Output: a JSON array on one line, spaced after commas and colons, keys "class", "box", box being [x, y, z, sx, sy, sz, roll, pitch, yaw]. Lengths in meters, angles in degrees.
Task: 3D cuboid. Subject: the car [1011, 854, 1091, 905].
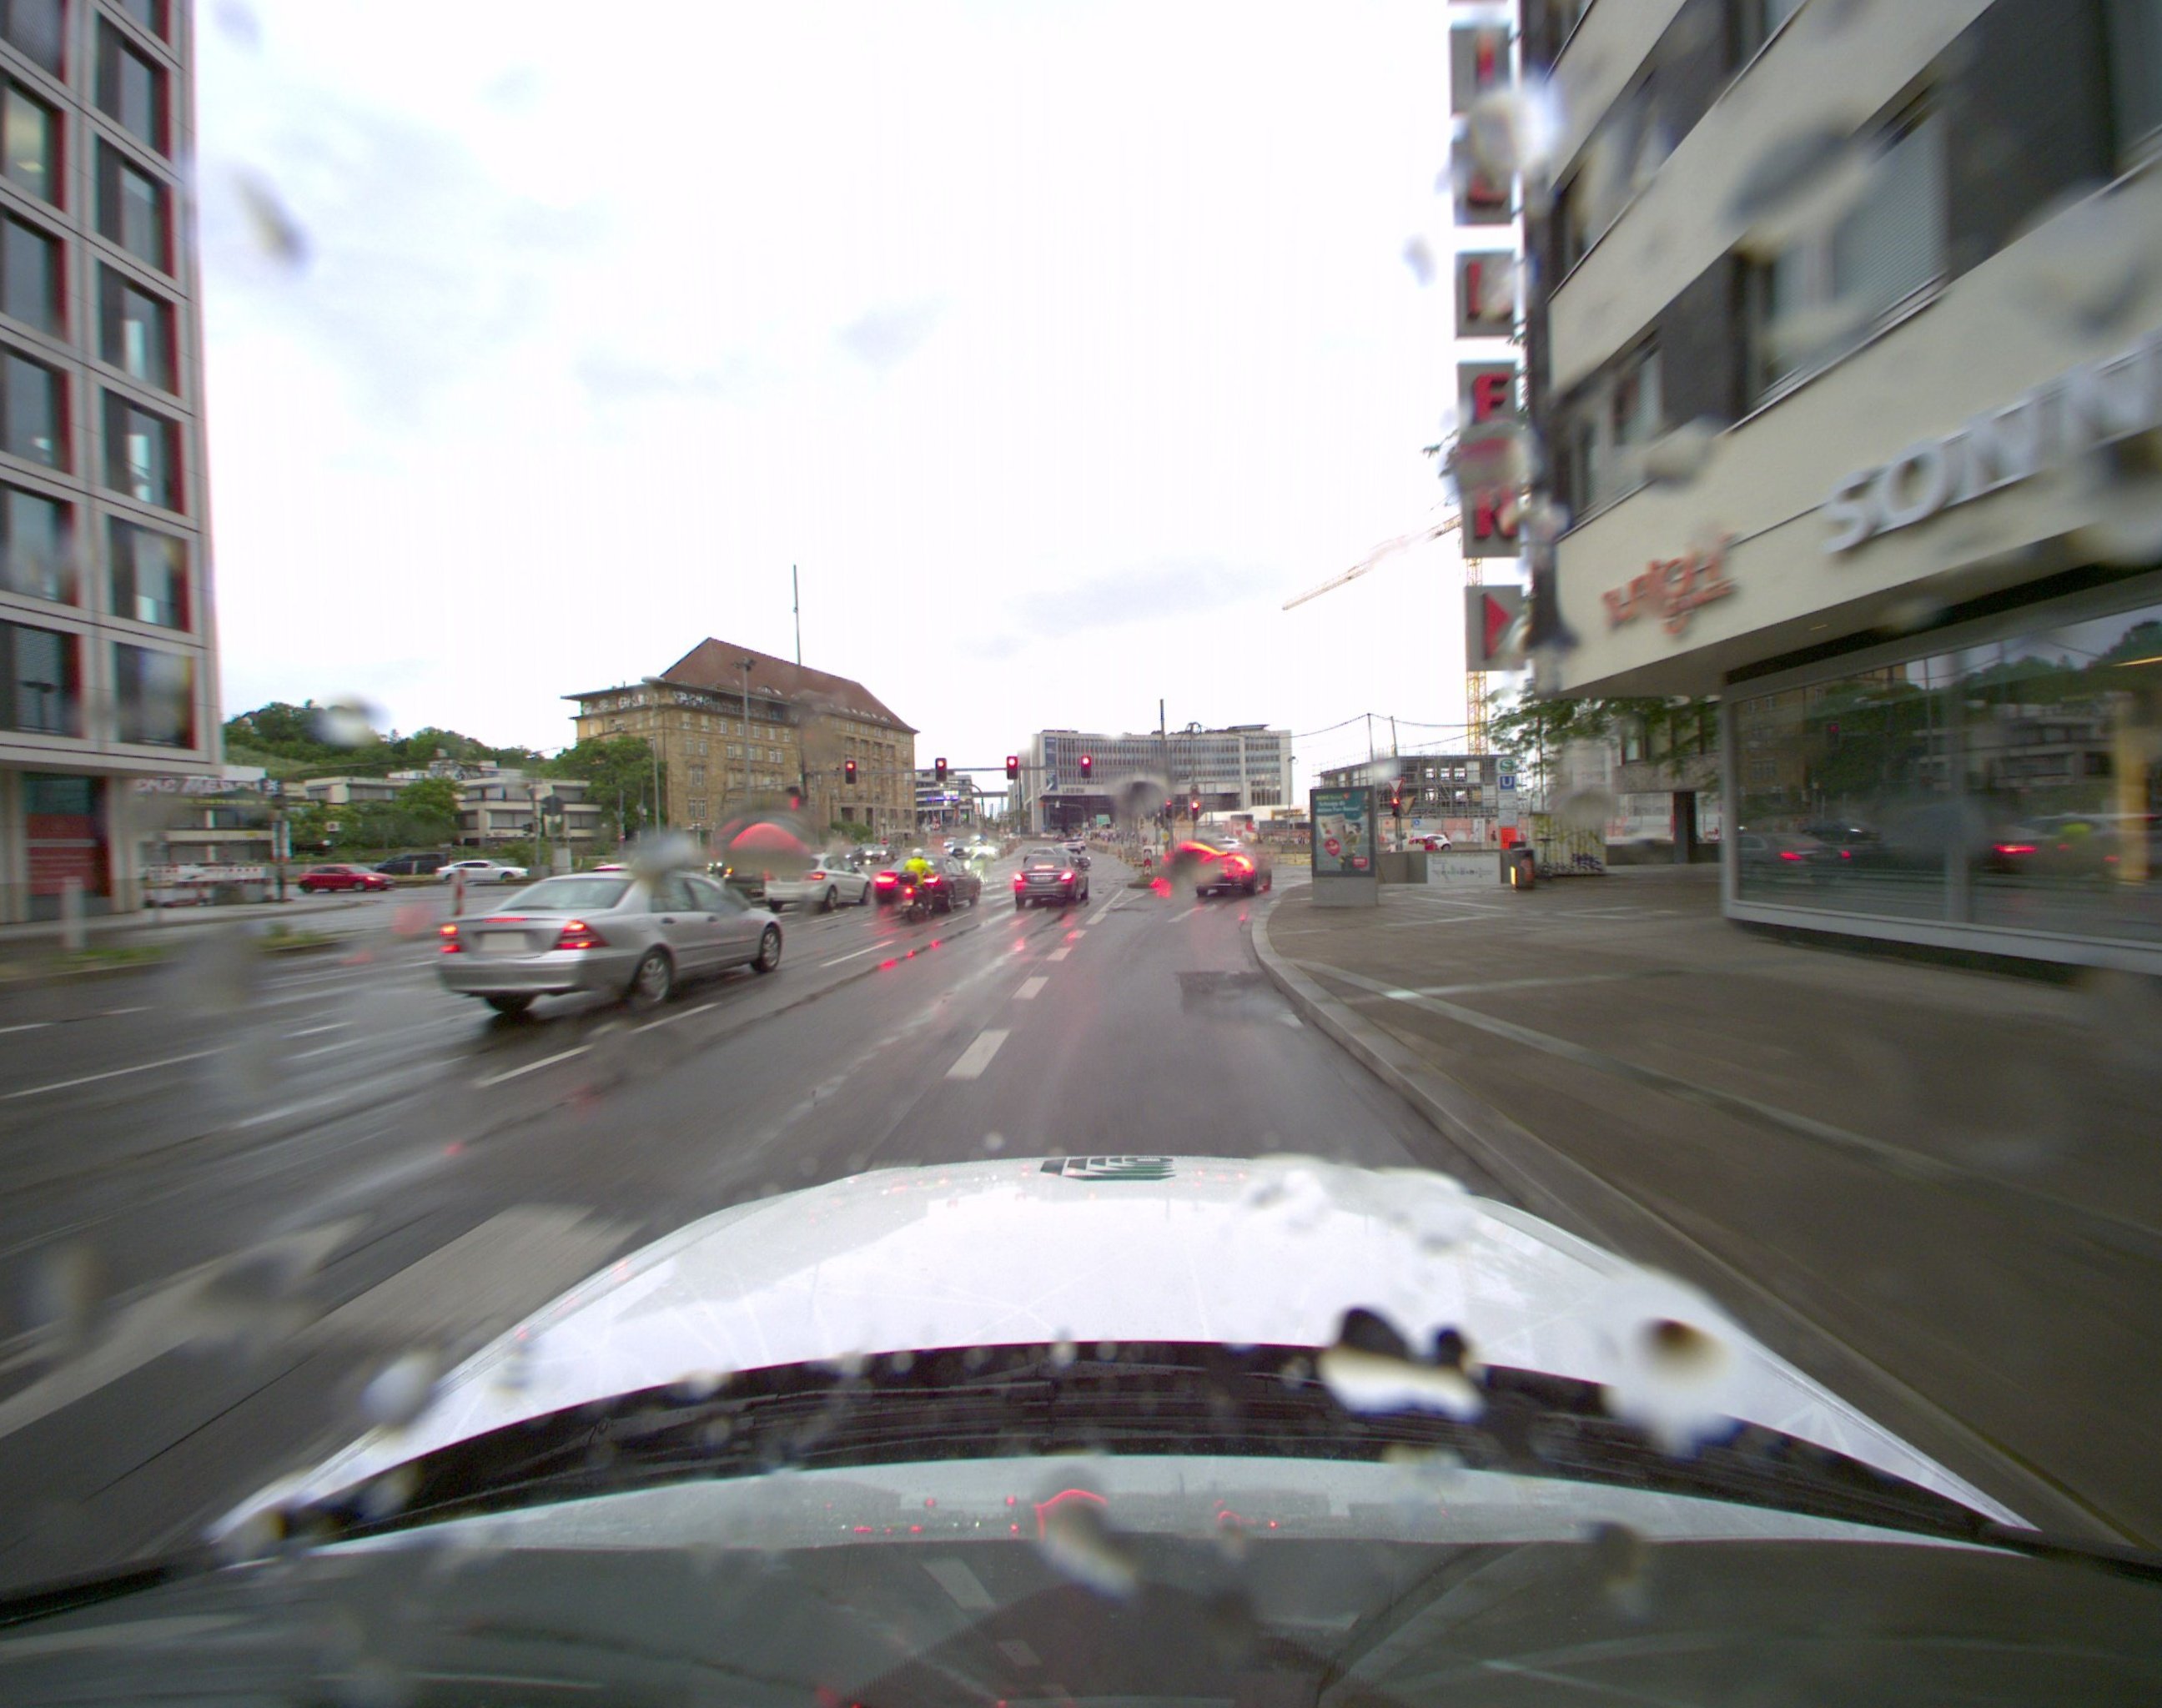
[{"class": "car", "box": [-0.811, 0.713, 24.592, 1.774, 1.402, 4.493, -1, 0, 6]}]

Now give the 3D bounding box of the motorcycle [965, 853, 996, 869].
[{"class": "motorcycle", "box": [-7.307, 0.511, 59.035, 2.115, 1.108, 0.856, -1, -1, 30]}]

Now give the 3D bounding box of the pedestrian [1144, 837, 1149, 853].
[{"class": "pedestrian", "box": [7.761, -1.088, 96.703, 0.361, 1.898, 0.574, 0, -1, -14]}]

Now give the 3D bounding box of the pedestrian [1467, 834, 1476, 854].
[{"class": "pedestrian", "box": [36.298, -0.932, 75.719, 0.573, 1.898, 0.362, 0, -1, -1]}]

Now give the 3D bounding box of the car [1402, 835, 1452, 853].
[{"class": "car", "box": [28.892, -0.829, 68.126, 3.526, 1.473, 1.791, -1, -1, 9]}]

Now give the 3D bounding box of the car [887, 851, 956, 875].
[{"class": "car", "box": [-10.157, 0.577, 51.761, 4.059, 1.507, 2.013, -1, -1, 35]}]

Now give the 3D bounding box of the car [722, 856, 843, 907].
[{"class": "car", "box": [-9.979, 0.878, 27.579, 1.770, 1.599, 4.089, -1, -1, 15]}]

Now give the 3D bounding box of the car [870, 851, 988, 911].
[{"class": "car", "box": [-4.147, 0.705, 23.121, 1.877, 1.515, 5.011, -1, 0, 6]}]

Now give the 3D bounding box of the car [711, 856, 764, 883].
[{"class": "car", "box": [-21.875, 0.959, 51.942, 1.692, 1.519, 3.873, -3, 0, -1]}]

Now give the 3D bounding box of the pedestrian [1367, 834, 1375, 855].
[{"class": "pedestrian", "box": [26.528, -0.857, 74.524, 0.572, 1.898, 0.362, 0, -1, 1]}]

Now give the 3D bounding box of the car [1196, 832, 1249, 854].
[{"class": "car", "box": [12.037, -0.942, 69.136, 4.375, 1.766, 2.006, -1, -1, 12]}]

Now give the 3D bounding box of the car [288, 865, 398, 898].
[{"class": "car", "box": [-38.540, 1.421, 42.603, 3.982, 1.596, 1.671, 0, -1, -7]}]

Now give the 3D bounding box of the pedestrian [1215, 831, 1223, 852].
[{"class": "pedestrian", "box": [12.911, -1.158, 76.150, 0.364, 1.898, 0.569, 0, -1, -43]}]

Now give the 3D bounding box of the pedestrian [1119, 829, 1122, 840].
[{"class": "pedestrian", "box": [6.876, -3.467, 141.760, 0.518, 1.898, 0.575, 0, -1, -5]}]

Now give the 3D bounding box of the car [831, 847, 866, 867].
[{"class": "car", "box": [-19.228, 0.274, 67.503, 1.797, 1.574, 4.071, 0, 0, -2]}]

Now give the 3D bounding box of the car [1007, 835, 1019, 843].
[{"class": "car", "box": [-16.277, -3.520, 195.384, 2.001, 1.816, 3.972, 0, -1, -21]}]

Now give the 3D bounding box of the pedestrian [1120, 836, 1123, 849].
[{"class": "pedestrian", "box": [5.752, -1.631, 116.082, 0.360, 1.898, 0.575, 0, -1, -5]}]

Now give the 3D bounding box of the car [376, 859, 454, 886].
[{"class": "car", "box": [-51.507, 1.416, 63.106, 4.226, 2.014, 1.987, 0, -1, -20]}]

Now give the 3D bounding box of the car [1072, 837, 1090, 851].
[{"class": "car", "box": [0.023, -1.259, 102.225, 1.728, 1.639, 3.424, 0, 3, -10]}]

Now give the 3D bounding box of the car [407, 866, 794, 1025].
[{"class": "car", "box": [-5.134, 0.863, 9.567, 1.725, 1.404, 4.387, 0, 0, 4]}]

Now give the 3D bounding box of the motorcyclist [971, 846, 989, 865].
[{"class": "motorcyclist", "box": [-7.303, 0.130, 59.042, 0.936, 1.358, 0.854, -1, -1, 29]}]

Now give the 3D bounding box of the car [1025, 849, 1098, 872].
[{"class": "car", "box": [-1.235, 0.407, 50.583, 4.060, 1.345, 2.012, -1, -1, 29]}]

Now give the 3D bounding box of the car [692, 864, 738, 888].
[{"class": "car", "box": [-26.158, 1.547, 58.308, 1.694, 1.519, 3.684, -3, 0, -3]}]

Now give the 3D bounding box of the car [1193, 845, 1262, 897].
[{"class": "car", "box": [4.872, 0.536, 26.676, 1.877, 1.544, 4.009, -1, -1, 14]}]

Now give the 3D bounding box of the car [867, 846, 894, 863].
[{"class": "car", "box": [-19.184, 0.094, 78.108, 1.693, 1.574, 3.996, 0, 0, -2]}]

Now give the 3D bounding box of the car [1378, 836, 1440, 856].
[{"class": "car", "box": [22.191, -0.554, 55.180, 3.530, 1.304, 1.662, 0, -1, -7]}]

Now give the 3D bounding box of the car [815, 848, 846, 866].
[{"class": "car", "box": [-22.522, 0.301, 73.284, 1.693, 1.574, 3.996, 0, 0, -2]}]

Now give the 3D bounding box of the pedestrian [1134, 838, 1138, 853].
[{"class": "pedestrian", "box": [7.109, -1.118, 104.651, 0.361, 1.898, 0.574, 0, -1, -9]}]

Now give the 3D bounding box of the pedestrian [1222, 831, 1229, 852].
[{"class": "pedestrian", "box": [13.608, -1.160, 76.667, 0.364, 1.898, 0.570, 0, -1, -40]}]

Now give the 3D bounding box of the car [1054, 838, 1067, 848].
[{"class": "car", "box": [-4.135, -2.214, 164.212, 1.996, 2.014, 3.981, 0, -1, -14]}]

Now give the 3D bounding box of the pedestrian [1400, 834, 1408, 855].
[{"class": "pedestrian", "box": [29.344, -0.889, 73.962, 0.572, 1.898, 0.362, 0, -1, 1]}]

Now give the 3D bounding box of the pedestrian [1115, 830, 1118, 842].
[{"class": "pedestrian", "box": [5.591, -2.838, 129.358, 0.360, 1.898, 0.575, 0, -1, -5]}]

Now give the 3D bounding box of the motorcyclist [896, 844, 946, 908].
[{"class": "motorcyclist", "box": [-3.817, 0.508, 19.508, 0.938, 1.475, 1.100, 0, -1, 1]}]

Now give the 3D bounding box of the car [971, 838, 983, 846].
[{"class": "car", "box": [-19.402, -2.227, 152.069, 1.762, 1.260, 3.999, 0, 0, 0]}]

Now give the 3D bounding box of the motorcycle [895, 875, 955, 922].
[{"class": "motorcycle", "box": [-3.676, 1.021, 19.403, 0.938, 0.989, 2.294, 0, 0, 1]}]

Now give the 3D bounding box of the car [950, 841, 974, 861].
[{"class": "car", "box": [-11.318, -0.268, 77.721, 1.991, 1.797, 5.092, 0, 0, -6]}]

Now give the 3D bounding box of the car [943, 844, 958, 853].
[{"class": "car", "box": [-20.512, -0.861, 128.101, 1.762, 1.260, 4.193, 0, 0, 0]}]

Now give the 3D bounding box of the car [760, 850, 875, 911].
[{"class": "car", "box": [-7.574, 0.715, 23.792, 1.724, 1.616, 4.006, -1, 0, 5]}]

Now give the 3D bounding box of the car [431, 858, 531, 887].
[{"class": "car", "box": [-36.100, 1.063, 49.111, 4.391, 1.662, 1.988, 0, -1, -17]}]

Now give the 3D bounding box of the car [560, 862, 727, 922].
[{"class": "car", "box": [-11.136, 0.914, 21.078, 1.773, 1.373, 4.002, -1, 0, 7]}]

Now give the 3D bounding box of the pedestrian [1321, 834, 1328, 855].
[{"class": "pedestrian", "box": [22.556, -0.882, 75.513, 0.572, 1.898, 0.363, 0, -1, 4]}]

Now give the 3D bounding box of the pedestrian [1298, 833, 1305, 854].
[{"class": "pedestrian", "box": [20.312, -0.943, 74.956, 0.571, 1.898, 0.363, -1, -1, 7]}]

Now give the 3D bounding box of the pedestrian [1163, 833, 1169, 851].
[{"class": "pedestrian", "box": [8.784, -1.237, 84.080, 0.364, 1.898, 0.570, 0, -1, -35]}]

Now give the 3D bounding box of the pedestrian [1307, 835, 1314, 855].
[{"class": "pedestrian", "box": [21.620, -0.821, 76.804, 0.572, 1.898, 0.362, 0, -1, 2]}]

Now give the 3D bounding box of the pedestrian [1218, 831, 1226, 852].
[{"class": "pedestrian", "box": [13.213, -1.151, 76.332, 0.364, 1.898, 0.570, -2, 0, -38]}]

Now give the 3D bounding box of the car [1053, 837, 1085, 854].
[{"class": "car", "box": [-1.269, -0.875, 83.040, 2.002, 1.640, 3.970, 0, -1, -22]}]
